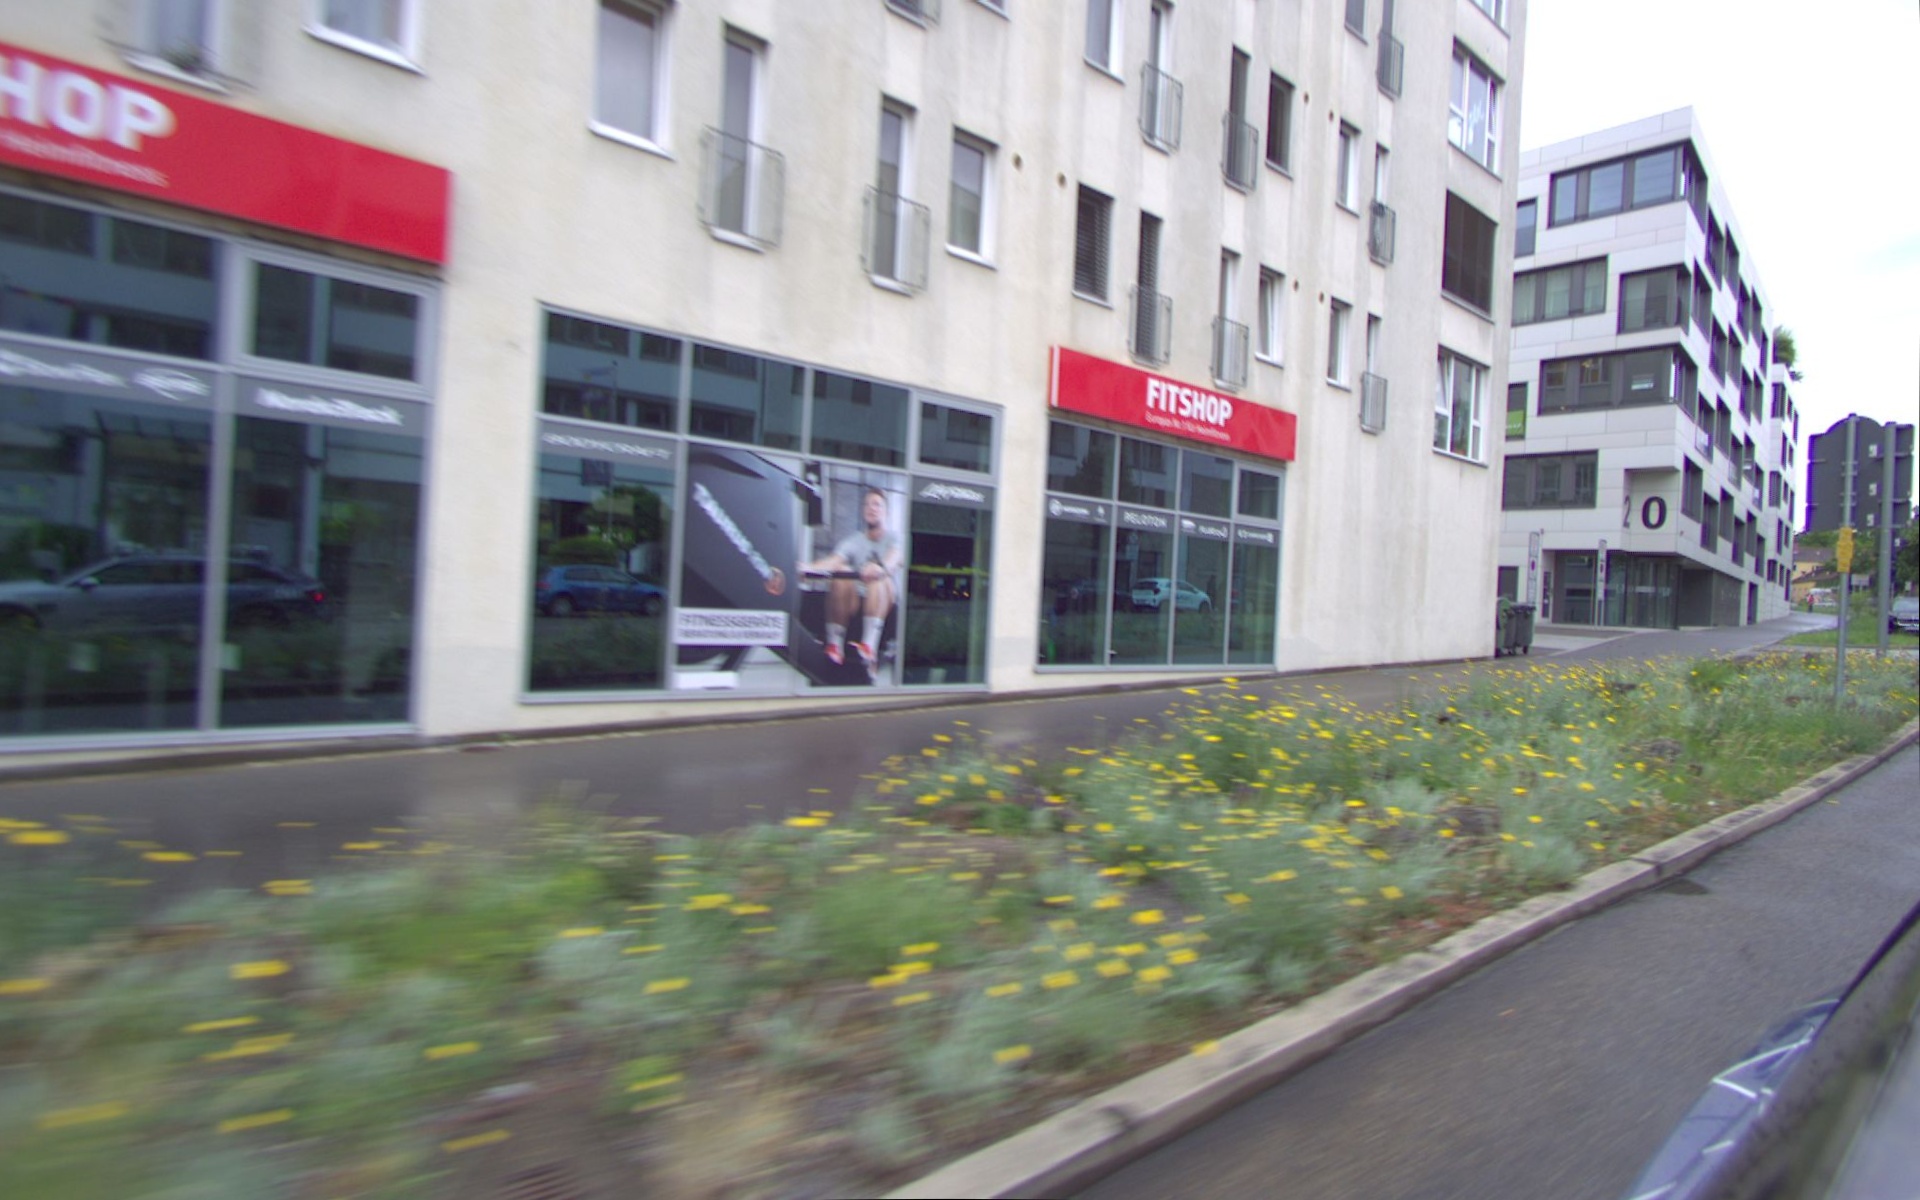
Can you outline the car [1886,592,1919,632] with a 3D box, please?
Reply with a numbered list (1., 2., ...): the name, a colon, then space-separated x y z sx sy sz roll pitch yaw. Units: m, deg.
1. car: 37.574 0.429 39.302 3.931 1.505 1.997 -1 1 -41
